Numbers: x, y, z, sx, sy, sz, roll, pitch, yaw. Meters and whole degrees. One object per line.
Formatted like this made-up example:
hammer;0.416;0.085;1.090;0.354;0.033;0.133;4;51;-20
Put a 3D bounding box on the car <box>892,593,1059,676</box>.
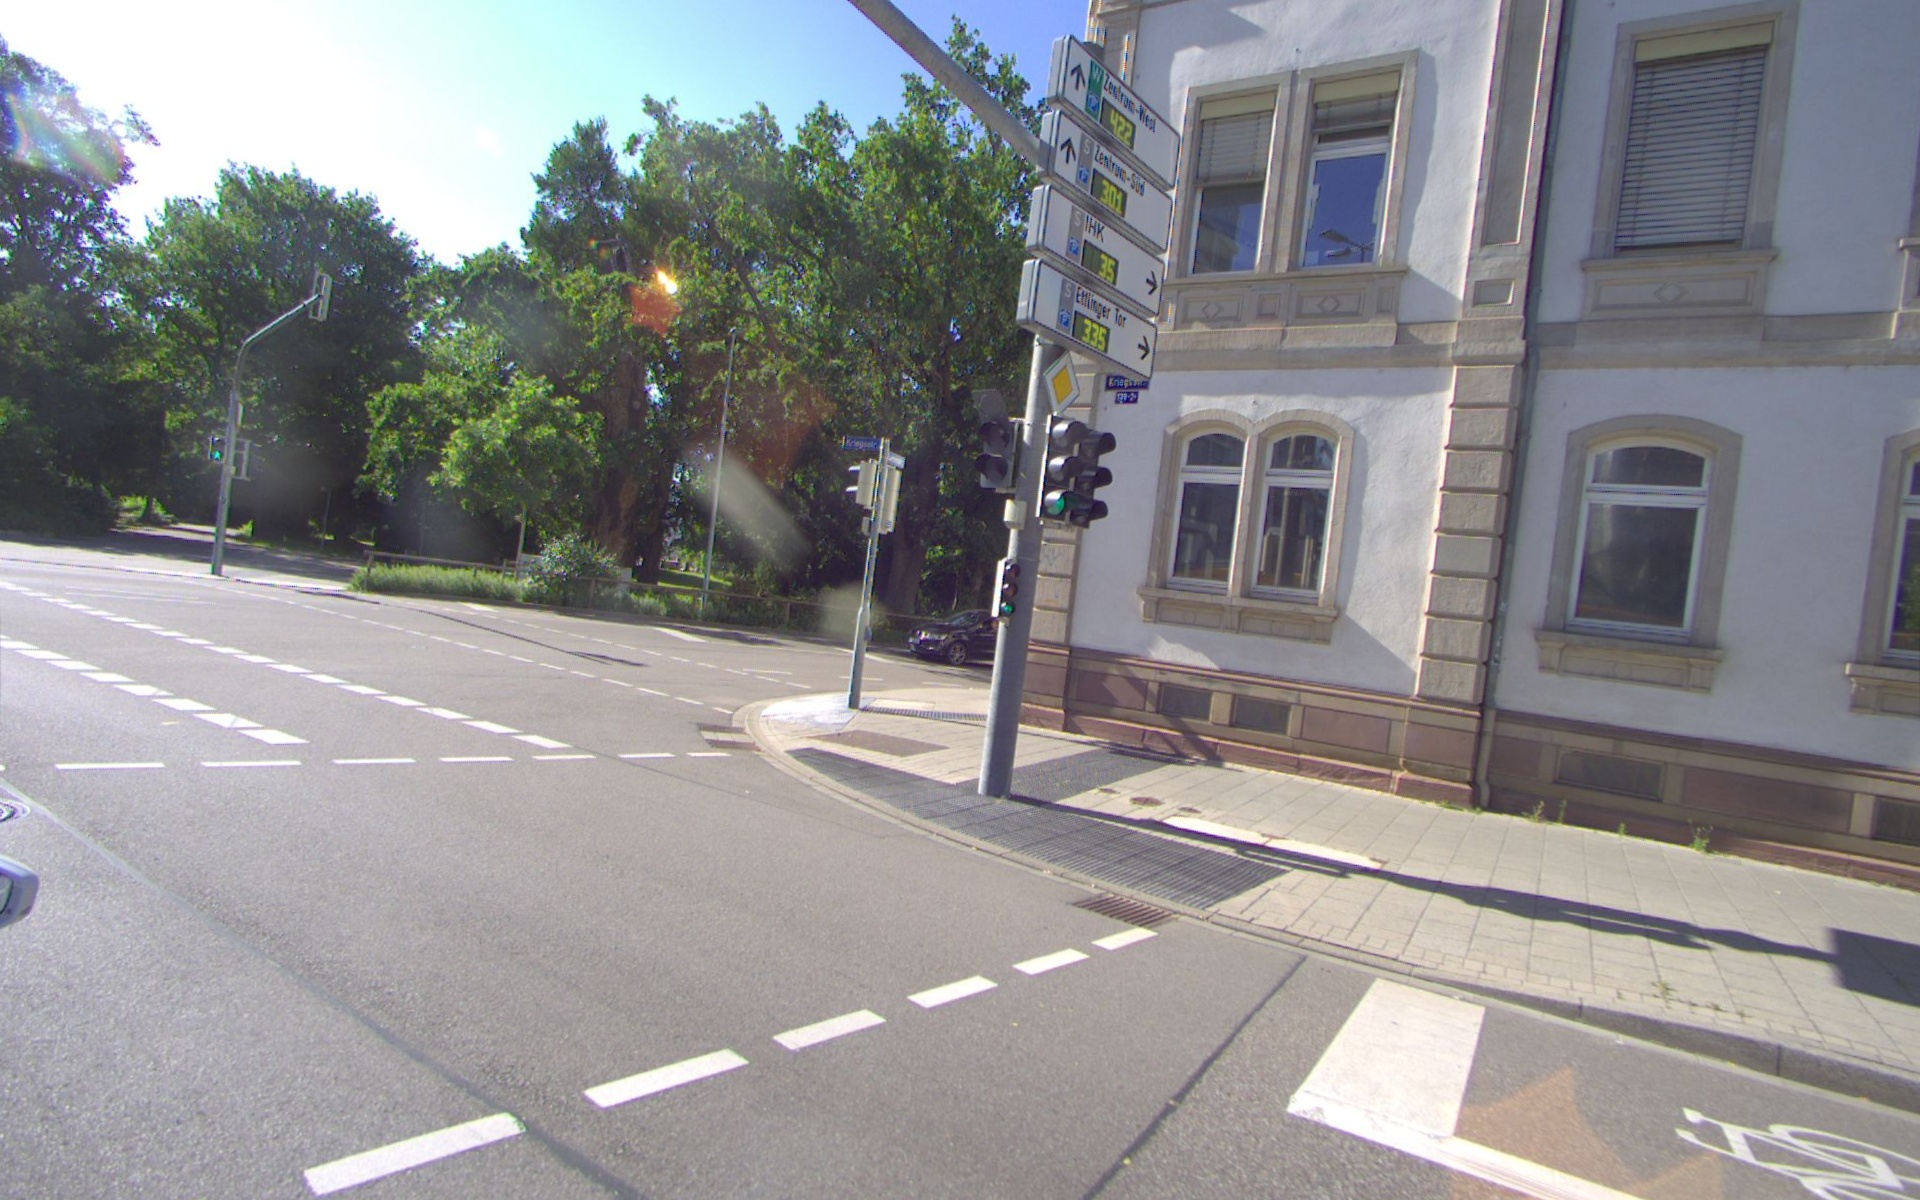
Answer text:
car;0.441;0.929;26.170;3.966;1.500;1.715;9;2;-36
